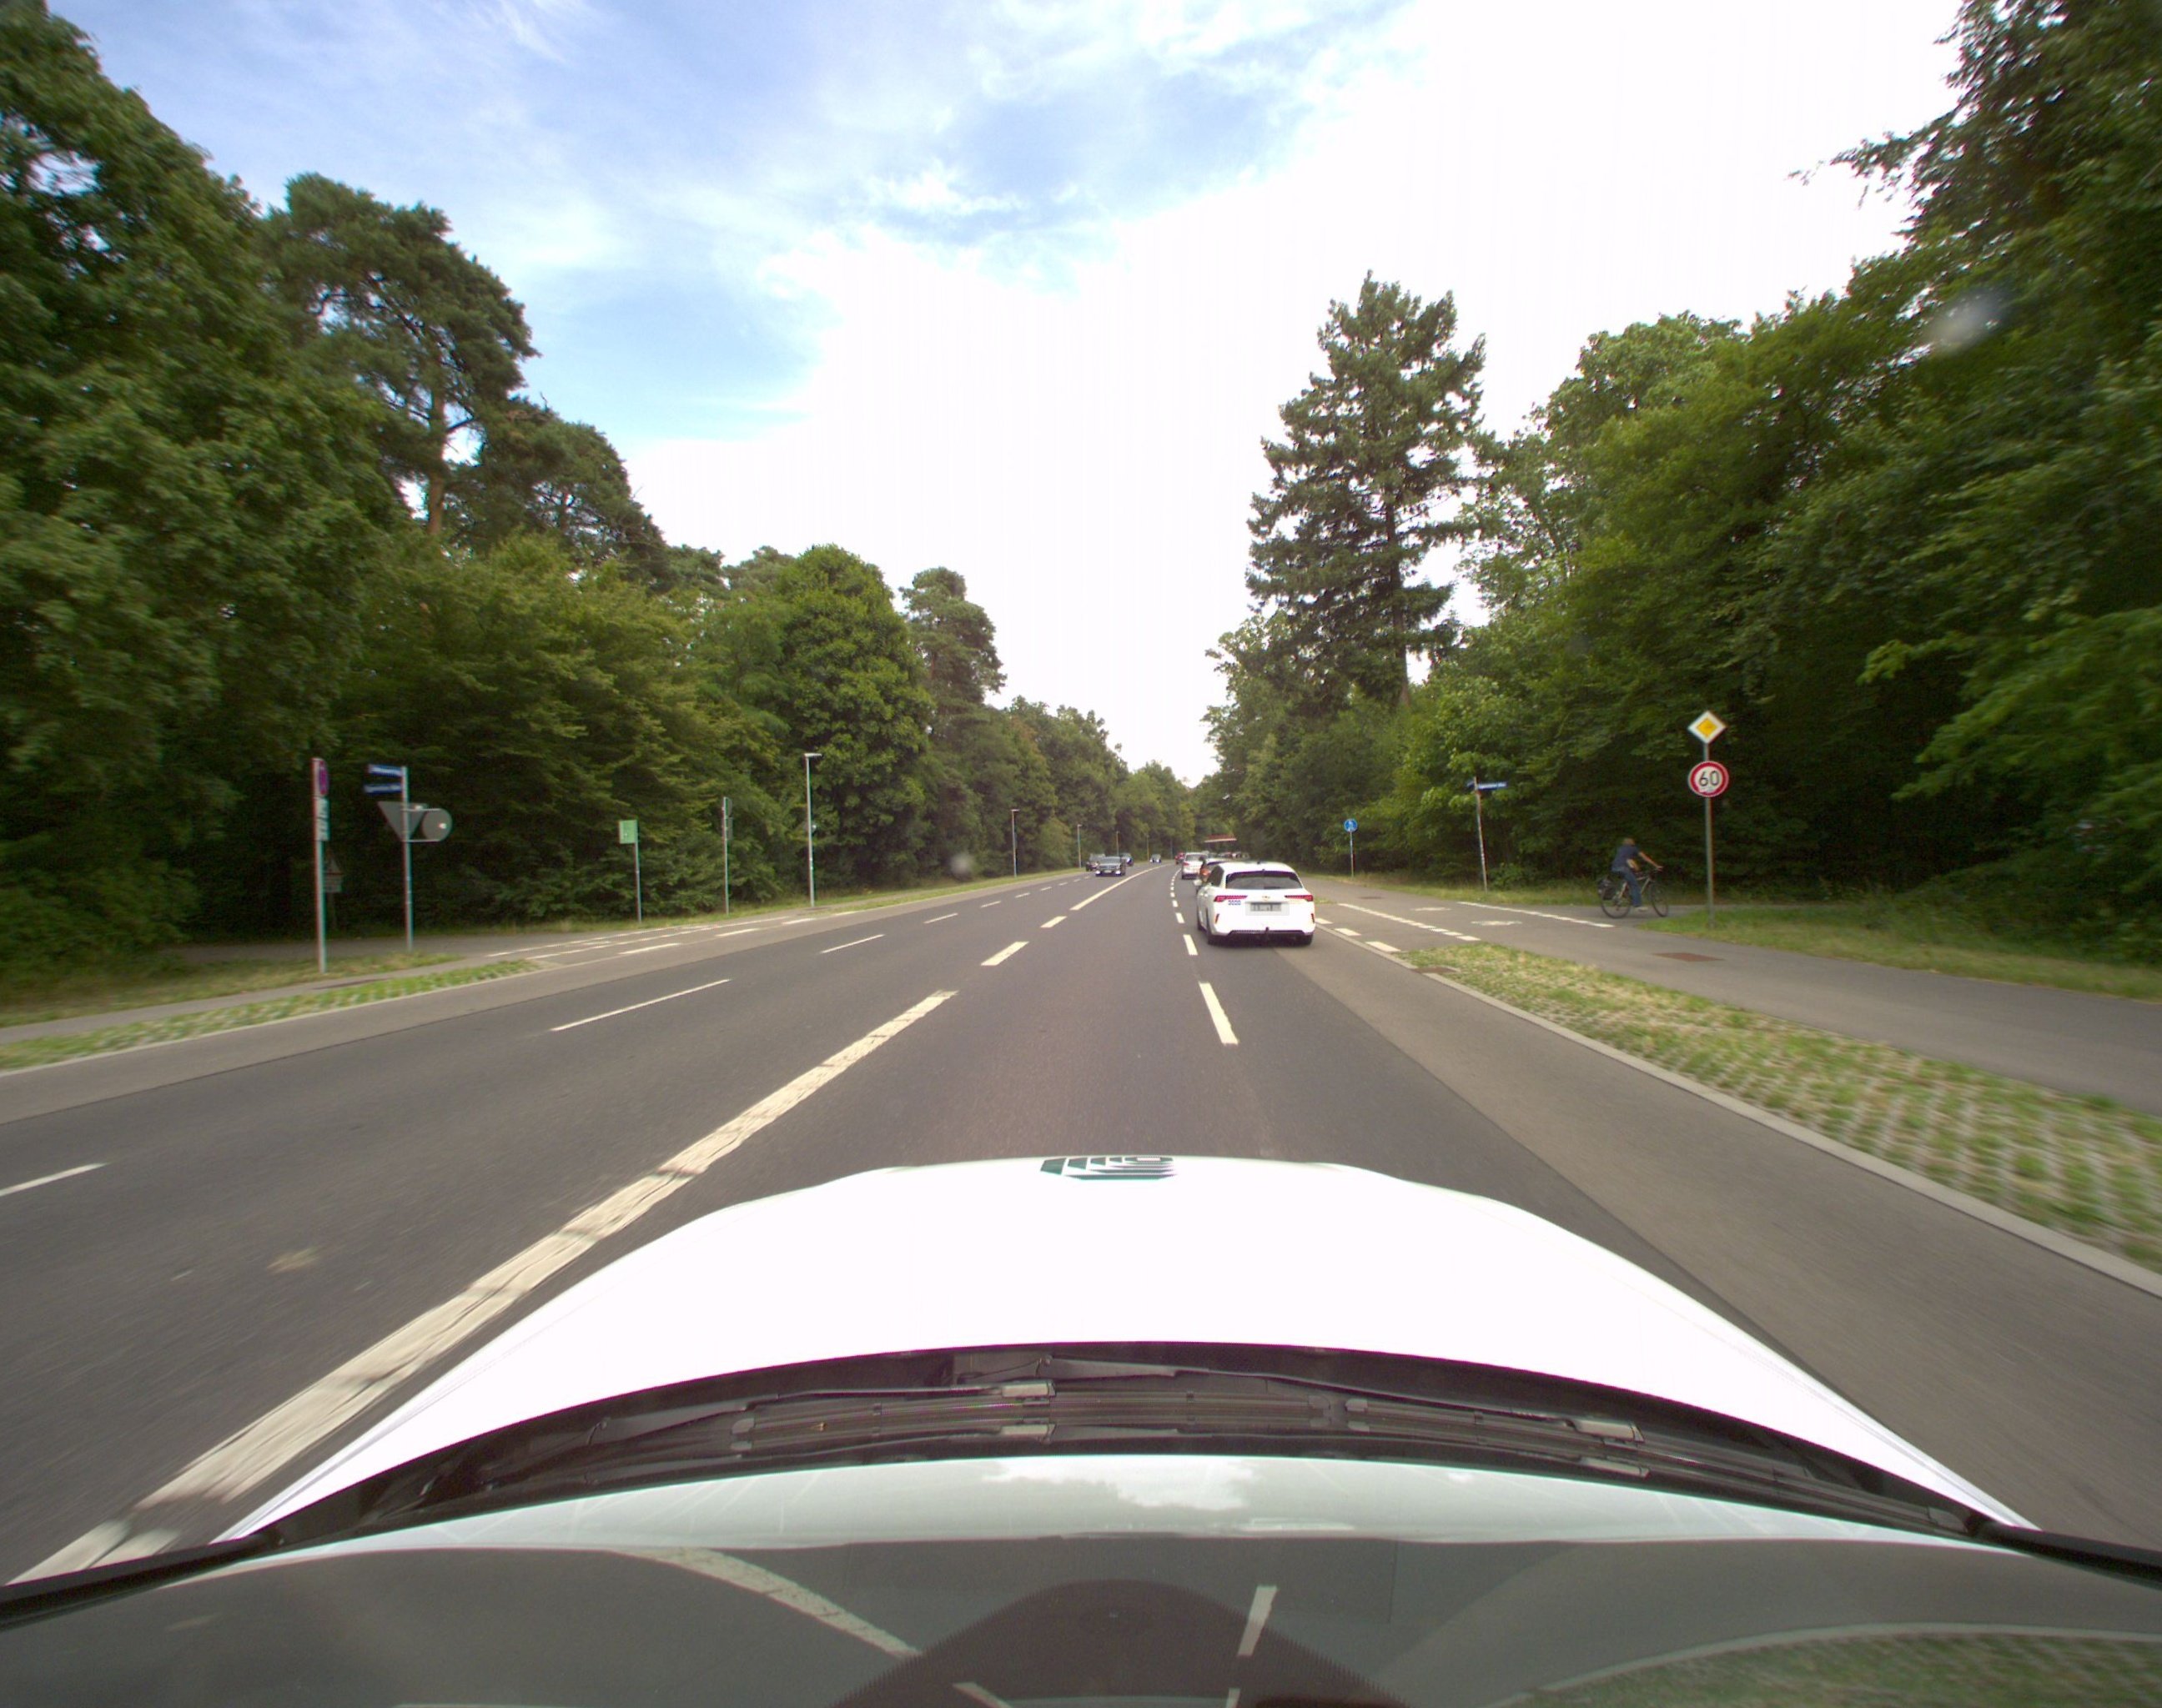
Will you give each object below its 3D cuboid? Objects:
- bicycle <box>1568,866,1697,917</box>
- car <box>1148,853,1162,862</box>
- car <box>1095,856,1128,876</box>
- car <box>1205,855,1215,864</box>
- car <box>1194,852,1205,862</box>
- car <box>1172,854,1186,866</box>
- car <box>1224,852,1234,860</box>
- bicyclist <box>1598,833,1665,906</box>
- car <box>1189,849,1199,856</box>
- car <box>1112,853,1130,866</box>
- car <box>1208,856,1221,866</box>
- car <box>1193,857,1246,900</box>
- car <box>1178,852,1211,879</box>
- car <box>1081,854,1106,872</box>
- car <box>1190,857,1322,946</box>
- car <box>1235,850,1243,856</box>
[{"bbox_3d":[11.456,0.775,16.961,2.166,0.994,0.711,-1,-1,1],"label":"bicycle"},{"bbox_3d":[13.075,0.636,143.781,1.884,1.484,4.551,1,-1,11],"label":"car"},{"bbox_3d":[2.260,0.885,59.199,1.983,1.435,4.729,0,-1,7],"label":"car"},{"bbox_3d":[28.165,1.178,177.929,1.980,1.783,4.013,1,-1,13],"label":"car"},{"bbox_3d":[23.487,0.577,161.159,1.980,1.783,4.013,1,-1,12],"label":"car"},{"bbox_3d":[14.384,0.868,118.972,1.718,1.587,4.011,1,-1,11],"label":"car"},{"bbox_3d":[36.579,0.493,201.282,1.979,1.783,4.015,1,-1,14],"label":"car"},{"bbox_3d":[11.440,0.328,16.954,0.894,1.470,0.712,-1,-1,3],"label":"bicyclist"},{"bbox_3d":[28.507,-0.399,205.245,1.980,1.563,4.618,1,-1,12],"label":"car"},{"bbox_3d":[5.197,0.773,105.495,1.982,1.617,4.673,1,-1,8],"label":"car"},{"bbox_3d":[25.041,1.307,152.494,1.979,1.783,4.016,1,-1,15],"label":"car"},{"bbox_3d":[4.978,0.863,29.696,1.627,1.420,4.006,1,-1,5],"label":"car"},{"bbox_3d":[7.229,0.736,52.049,1.983,1.607,4.007,1,-1,7],"label":"car"},{"bbox_3d":[1.245,0.859,77.726,1.913,1.655,4.477,0,-1,7],"label":"car"},{"bbox_3d":[3.091,0.776,15.239,1.828,1.410,4.496,0,0,5],"label":"car"},{"bbox_3d":[45.003,-0.240,231.311,1.979,1.706,4.015,-1,0,13],"label":"car"}]
